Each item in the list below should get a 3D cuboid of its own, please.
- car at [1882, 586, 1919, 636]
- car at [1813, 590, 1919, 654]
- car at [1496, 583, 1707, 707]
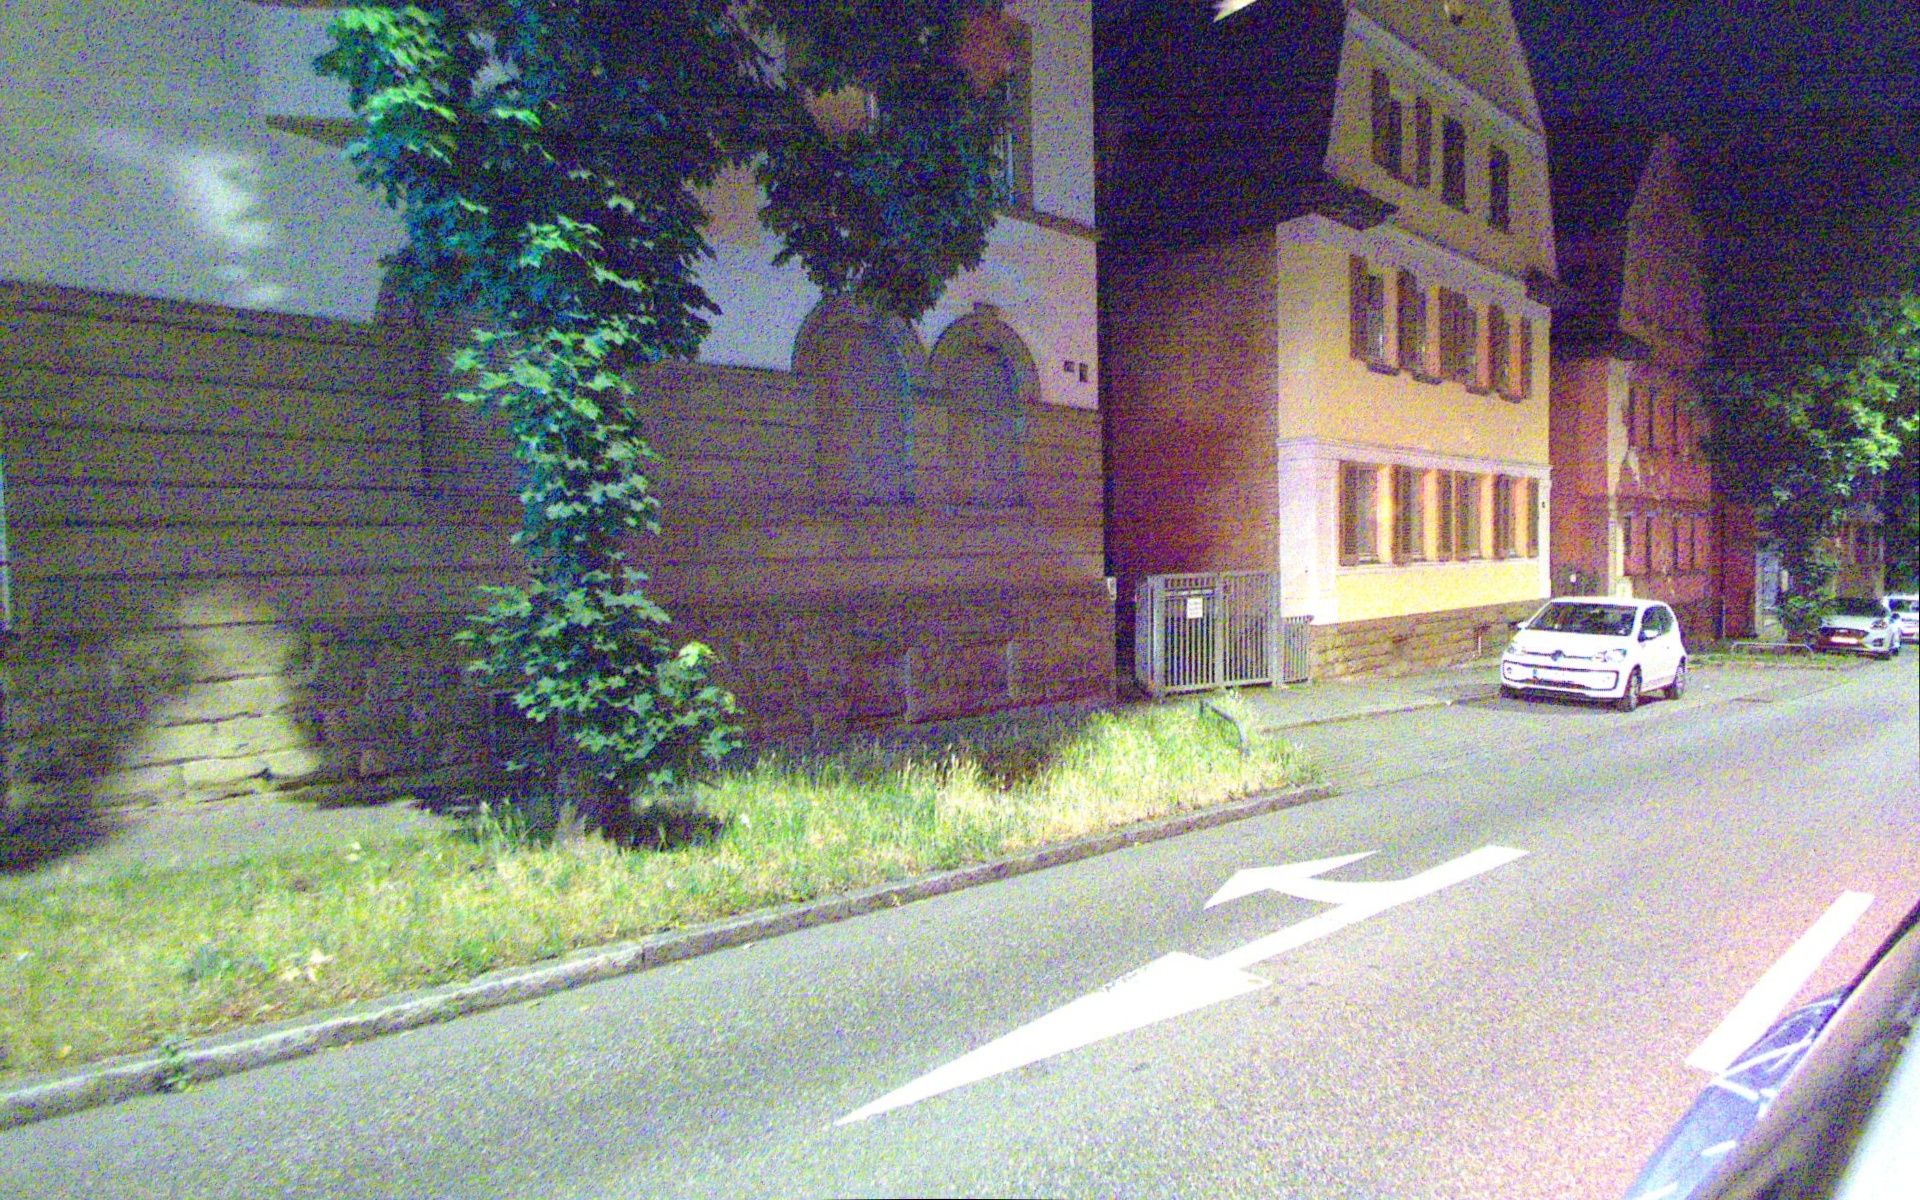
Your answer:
[{"bbox_3d":[33.543,0.372,35.143,4.107,1.673,1.850,0,0,-42],"label":"car"},{"bbox_3d":[23.619,0.511,26.285,3.824,1.516,1.740,0,2,-43],"label":"car"},{"bbox_3d":[9.280,0.557,14.562,3.425,1.527,1.610,0,2,-41],"label":"car"}]
